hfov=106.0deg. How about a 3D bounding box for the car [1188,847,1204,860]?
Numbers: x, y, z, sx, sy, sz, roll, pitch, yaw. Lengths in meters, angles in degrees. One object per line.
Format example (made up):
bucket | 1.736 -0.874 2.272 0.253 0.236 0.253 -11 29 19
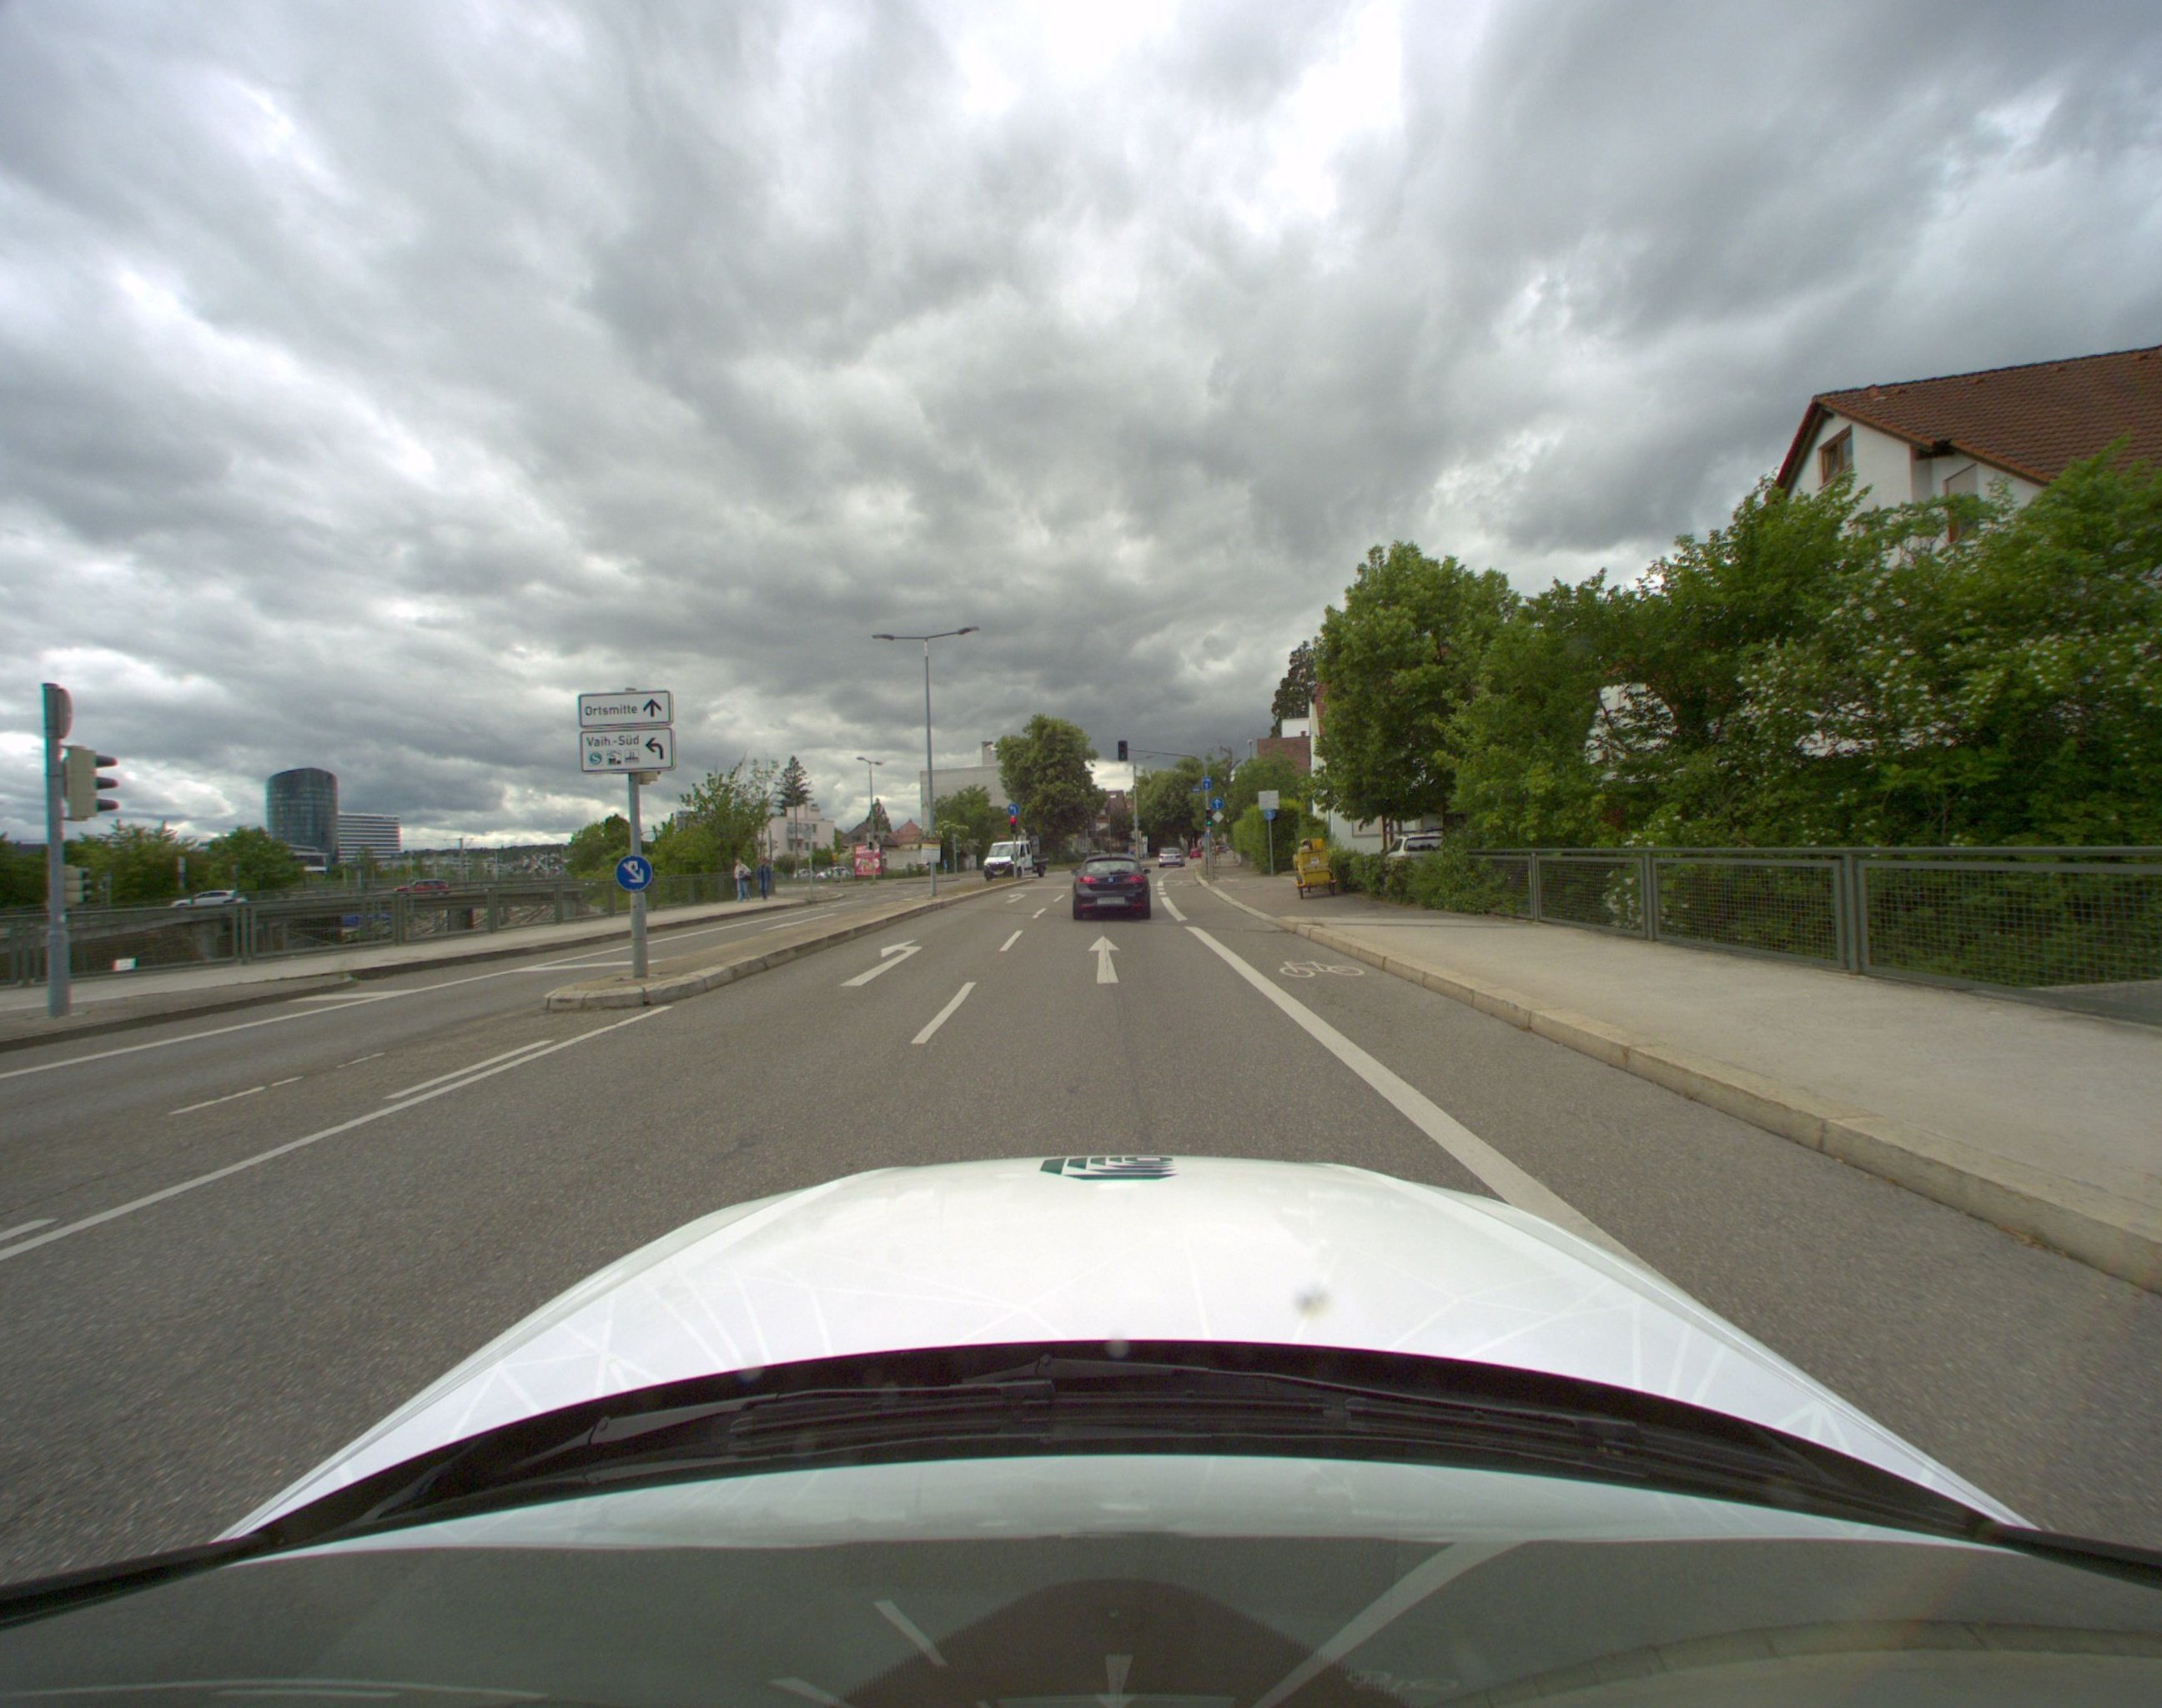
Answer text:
car | 15.148 -0.101 106.997 1.930 1.481 4.265 -3 0 10

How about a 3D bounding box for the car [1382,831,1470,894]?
car | 9.513 0.173 22.734 1.658 1.504 4.077 -2 2 15

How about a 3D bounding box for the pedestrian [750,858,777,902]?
pedestrian | -11.968 0.974 30.737 0.655 1.633 1.069 -1 0 -5

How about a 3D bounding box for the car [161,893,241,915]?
car | -71.255 4.031 66.015 4.011 1.662 1.720 1 0 -30

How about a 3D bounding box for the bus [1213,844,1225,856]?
bus | 36.756 -1.126 217.188 2.850 3.136 6.417 -3 0 11

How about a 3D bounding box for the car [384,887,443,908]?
car | -60.765 3.910 74.188 4.017 1.662 1.779 0 0 -36

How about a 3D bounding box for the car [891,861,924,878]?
car | -20.663 1.830 96.923 1.977 2.013 4.020 0 0 21

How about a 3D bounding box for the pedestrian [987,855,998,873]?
pedestrian | -7.900 0.870 72.447 0.651 1.522 0.926 -3 0 9

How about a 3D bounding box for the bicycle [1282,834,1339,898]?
bicycle | 6.087 0.290 21.797 0.887 1.510 2.788 -7 0 7

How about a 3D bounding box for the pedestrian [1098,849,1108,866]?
pedestrian | 1.813 0.270 67.560 0.771 1.407 0.600 1 2 -2

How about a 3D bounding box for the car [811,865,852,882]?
car | -26.523 2.075 86.729 1.779 1.554 4.024 -3 0 27

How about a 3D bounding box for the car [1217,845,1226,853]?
car | 31.377 -1.060 182.255 1.837 1.596 4.118 -3 0 11

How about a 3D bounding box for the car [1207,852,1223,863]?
car | 22.862 0.517 138.727 1.978 1.684 4.019 -3 0 17

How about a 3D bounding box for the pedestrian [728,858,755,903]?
pedestrian | -12.772 0.991 30.649 0.655 1.633 0.831 -1 0 -5

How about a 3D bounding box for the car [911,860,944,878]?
car | -18.016 1.696 95.525 1.977 2.013 4.020 0 0 21

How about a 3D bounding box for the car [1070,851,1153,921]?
car | 0.810 0.665 19.066 1.751 1.448 3.719 0 1 5

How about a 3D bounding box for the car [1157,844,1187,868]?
car | 7.166 0.156 63.674 1.806 1.699 4.268 -3 0 13

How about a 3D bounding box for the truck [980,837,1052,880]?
truck | -3.761 0.214 48.649 2.110 2.264 6.832 -3 0 14

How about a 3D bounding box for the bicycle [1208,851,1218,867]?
bicycle | 8.997 0.317 55.292 0.624 1.028 1.508 -2 0 10

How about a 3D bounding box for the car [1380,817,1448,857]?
car | 13.662 -0.685 33.620 1.658 1.449 4.010 -3 0 9
